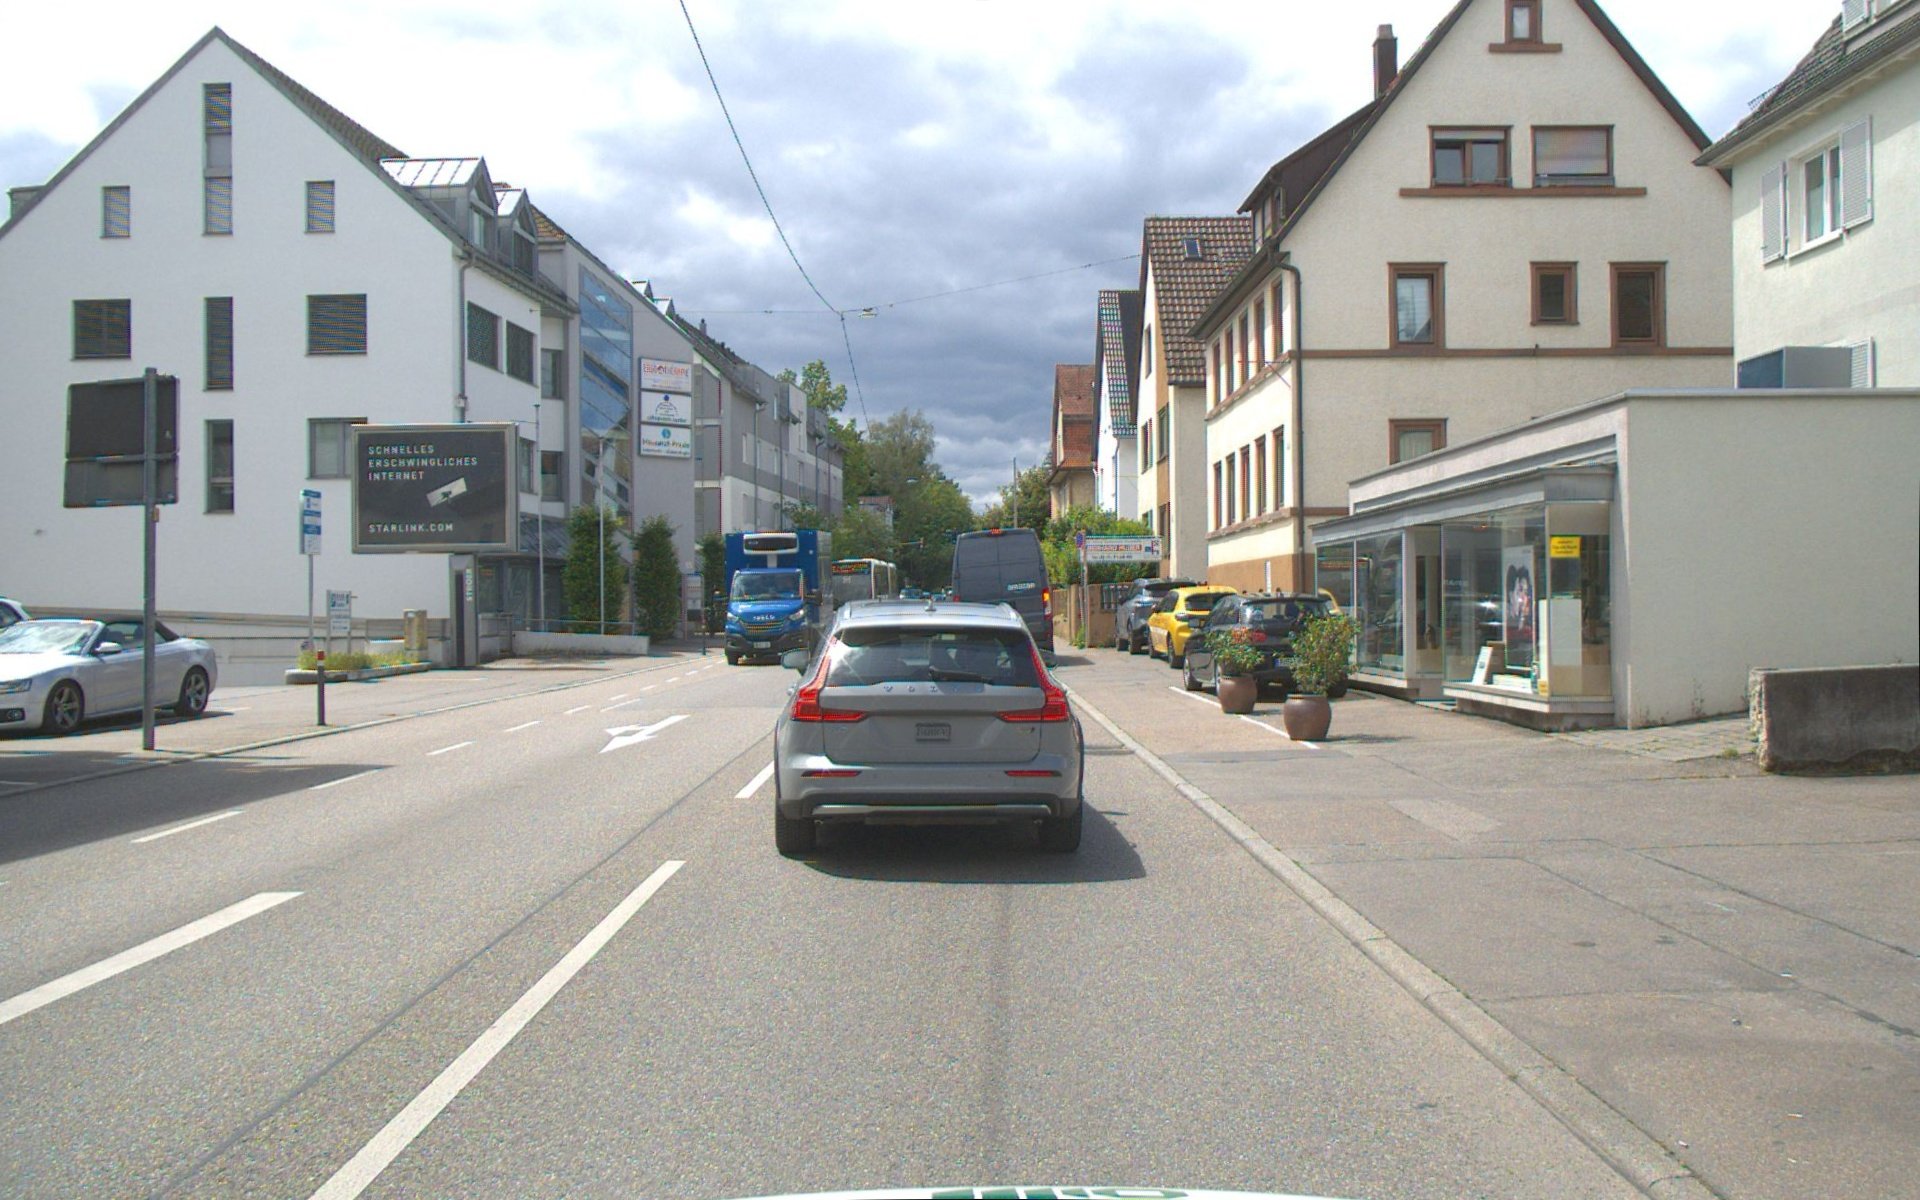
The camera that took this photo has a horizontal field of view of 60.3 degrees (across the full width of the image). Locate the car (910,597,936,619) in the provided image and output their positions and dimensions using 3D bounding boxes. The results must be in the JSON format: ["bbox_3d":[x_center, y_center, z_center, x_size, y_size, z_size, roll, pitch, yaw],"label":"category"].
[{"bbox_3d":[-3.051,0.617,136.189,2.062,1.739,4.764,-1,0,-1],"label":"car"}]

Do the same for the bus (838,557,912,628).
[{"bbox_3d":[-4.047,-0.346,80.454,2.659,3.219,8.072,-1,0,4],"label":"bus"}]

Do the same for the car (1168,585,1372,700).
[{"bbox_3d":[4.359,0.548,23.982,1.928,1.473,4.533,-1,0,-2],"label":"car"}]

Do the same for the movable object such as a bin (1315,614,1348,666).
[{"bbox_3d":[6.831,0.736,30.432,0.490,0.941,0.598,-1,0,3],"label":"movable object such as a bin"}]

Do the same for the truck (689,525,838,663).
[{"bbox_3d":[-4.816,-0.143,42.084,2.795,3.147,8.088,-1,0,0],"label":"truck"}]

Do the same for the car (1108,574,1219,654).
[{"bbox_3d":[4.508,0.285,37.280,1.823,1.640,4.585,-2,0,-1],"label":"car"}]

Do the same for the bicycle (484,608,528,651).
[{"bbox_3d":[-12.431,0.790,45.347,0.617,1.114,2.003,-1,0,1],"label":"bicycle"}]

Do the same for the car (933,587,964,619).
[{"bbox_3d":[-0.744,0.168,109.126,1.952,2.049,4.001,0,0,1],"label":"car"}]

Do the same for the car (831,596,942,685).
[{"bbox_3d":[-1.310,0.680,29.790,1.858,1.472,3.967,0,0,-2],"label":"car"}]

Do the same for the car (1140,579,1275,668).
[{"bbox_3d":[4.779,0.406,32.494,1.839,1.472,4.306,-1,2,-2],"label":"car"}]

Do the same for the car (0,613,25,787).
[{"bbox_3d":[-8.915,0.837,12.083,1.686,1.447,4.149,0,0,2],"label":"car"}]

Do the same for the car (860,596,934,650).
[{"bbox_3d":[-1.760,0.630,47.472,1.857,1.472,3.969,0,0,1],"label":"car"}]

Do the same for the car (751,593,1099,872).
[{"bbox_3d":[-0.136,0.698,10.835,1.857,1.479,3.969,0,0,1],"label":"car"}]

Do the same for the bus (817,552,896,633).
[{"bbox_3d":[-4.369,-0.316,71.544,2.627,3.219,10.185,-1,0,1],"label":"bus"}]

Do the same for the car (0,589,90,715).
[{"bbox_3d":[-13.713,0.752,21.345,1.910,1.647,4.933,-3,0,6],"label":"car"}]

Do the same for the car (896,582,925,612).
[{"bbox_3d":[-3.740,-0.244,126.079,2.063,2.158,4.764,-3,0,-1],"label":"car"}]

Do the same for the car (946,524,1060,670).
[{"bbox_3d":[0.896,-0.068,35.524,2.206,2.844,5.569,-1,0,1],"label":"car"}]

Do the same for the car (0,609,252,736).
[{"bbox_3d":[-11.143,0.836,21.061,1.910,1.381,4.858,-1,0,4],"label":"car"}]
